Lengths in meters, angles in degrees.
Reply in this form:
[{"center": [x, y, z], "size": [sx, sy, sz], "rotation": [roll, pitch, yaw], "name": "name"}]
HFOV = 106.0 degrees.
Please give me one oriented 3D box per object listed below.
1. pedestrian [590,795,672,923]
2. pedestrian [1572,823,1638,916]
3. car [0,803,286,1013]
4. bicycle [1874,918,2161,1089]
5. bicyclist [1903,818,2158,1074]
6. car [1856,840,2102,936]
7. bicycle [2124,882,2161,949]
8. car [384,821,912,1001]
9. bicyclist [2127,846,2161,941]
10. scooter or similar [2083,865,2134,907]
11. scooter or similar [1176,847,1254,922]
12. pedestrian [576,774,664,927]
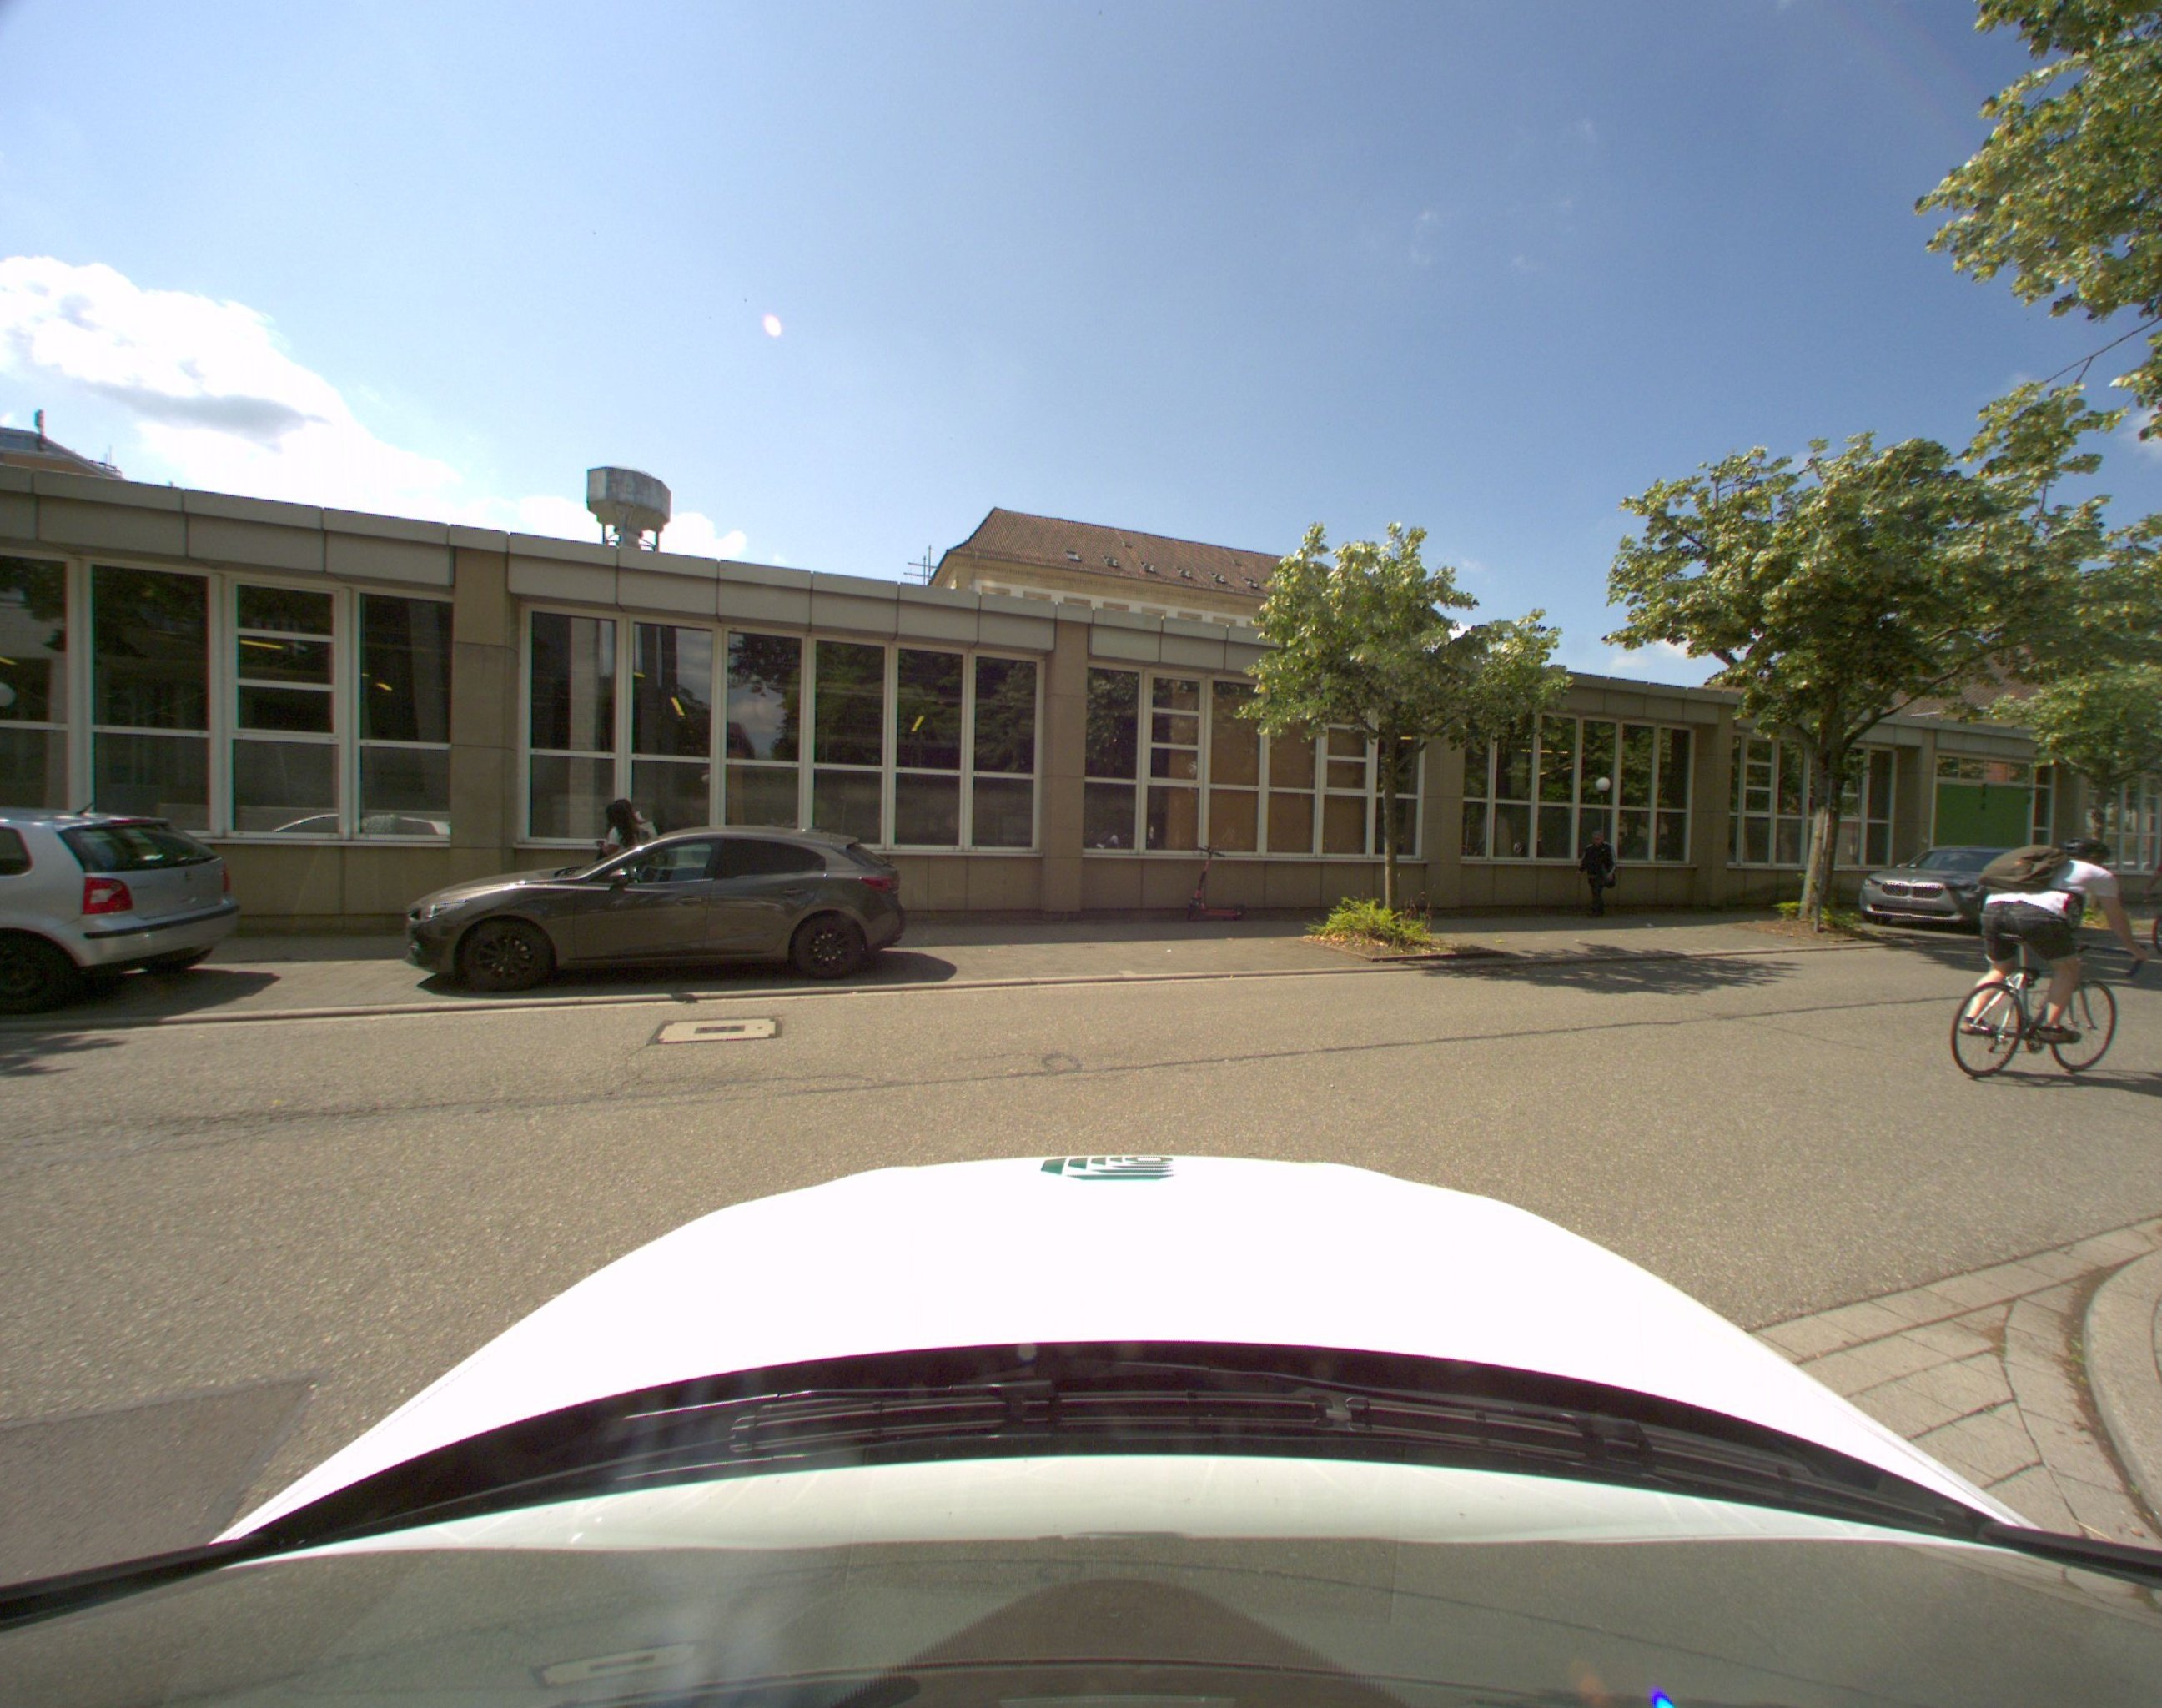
[{"center": [-5.639, 0.057, 10.240], "size": [0.798, 1.541, 0.660], "rotation": [1, 1, -21], "name": "pedestrian"}, {"center": [10.334, 0.286, 16.094], "size": [0.670, 1.786, 0.786], "rotation": [0, 3, -19], "name": "pedestrian"}, {"center": [-9.010, 0.350, 6.266], "size": [3.753, 1.448, 1.625], "rotation": [1, 4, -21], "name": "car"}, {"center": [6.789, 1.012, 5.854], "size": [1.909, 0.993, 0.705], "rotation": [1, 3, -18], "name": "bicycle"}, {"center": [6.753, 0.603, 5.820], "size": [1.094, 1.661, 0.715], "rotation": [1, 4, -18], "name": "bicyclist"}, {"center": [18.021, 0.638, 16.349], "size": [4.520, 1.631, 1.815], "rotation": [1, 3, -22], "name": "car"}, {"center": [18.110, 1.061, 13.284], "size": [1.932, 1.041, 0.813], "rotation": [5, 0, -22], "name": "bicycle"}, {"center": [-4.010, 0.443, 8.282], "size": [4.290, 1.435, 1.720], "rotation": [0, 4, -21], "name": "car"}, {"center": [18.142, 0.663, 13.426], "size": [0.960, 1.543, 0.832], "rotation": [1, 2, -23], "name": "bicyclist"}, {"center": [29.899, 0.941, 23.704], "size": [1.215, 1.169, 0.504], "rotation": [1, 3, -20], "name": "scooter or similar"}, {"center": [2.248, 0.498, 13.644], "size": [1.246, 1.207, 0.381], "rotation": [0, 4, -21], "name": "scooter or similar"}, {"center": [-5.439, -0.044, 9.645], "size": [0.798, 1.728, 0.597], "rotation": [1, 1, -21], "name": "pedestrian"}]
